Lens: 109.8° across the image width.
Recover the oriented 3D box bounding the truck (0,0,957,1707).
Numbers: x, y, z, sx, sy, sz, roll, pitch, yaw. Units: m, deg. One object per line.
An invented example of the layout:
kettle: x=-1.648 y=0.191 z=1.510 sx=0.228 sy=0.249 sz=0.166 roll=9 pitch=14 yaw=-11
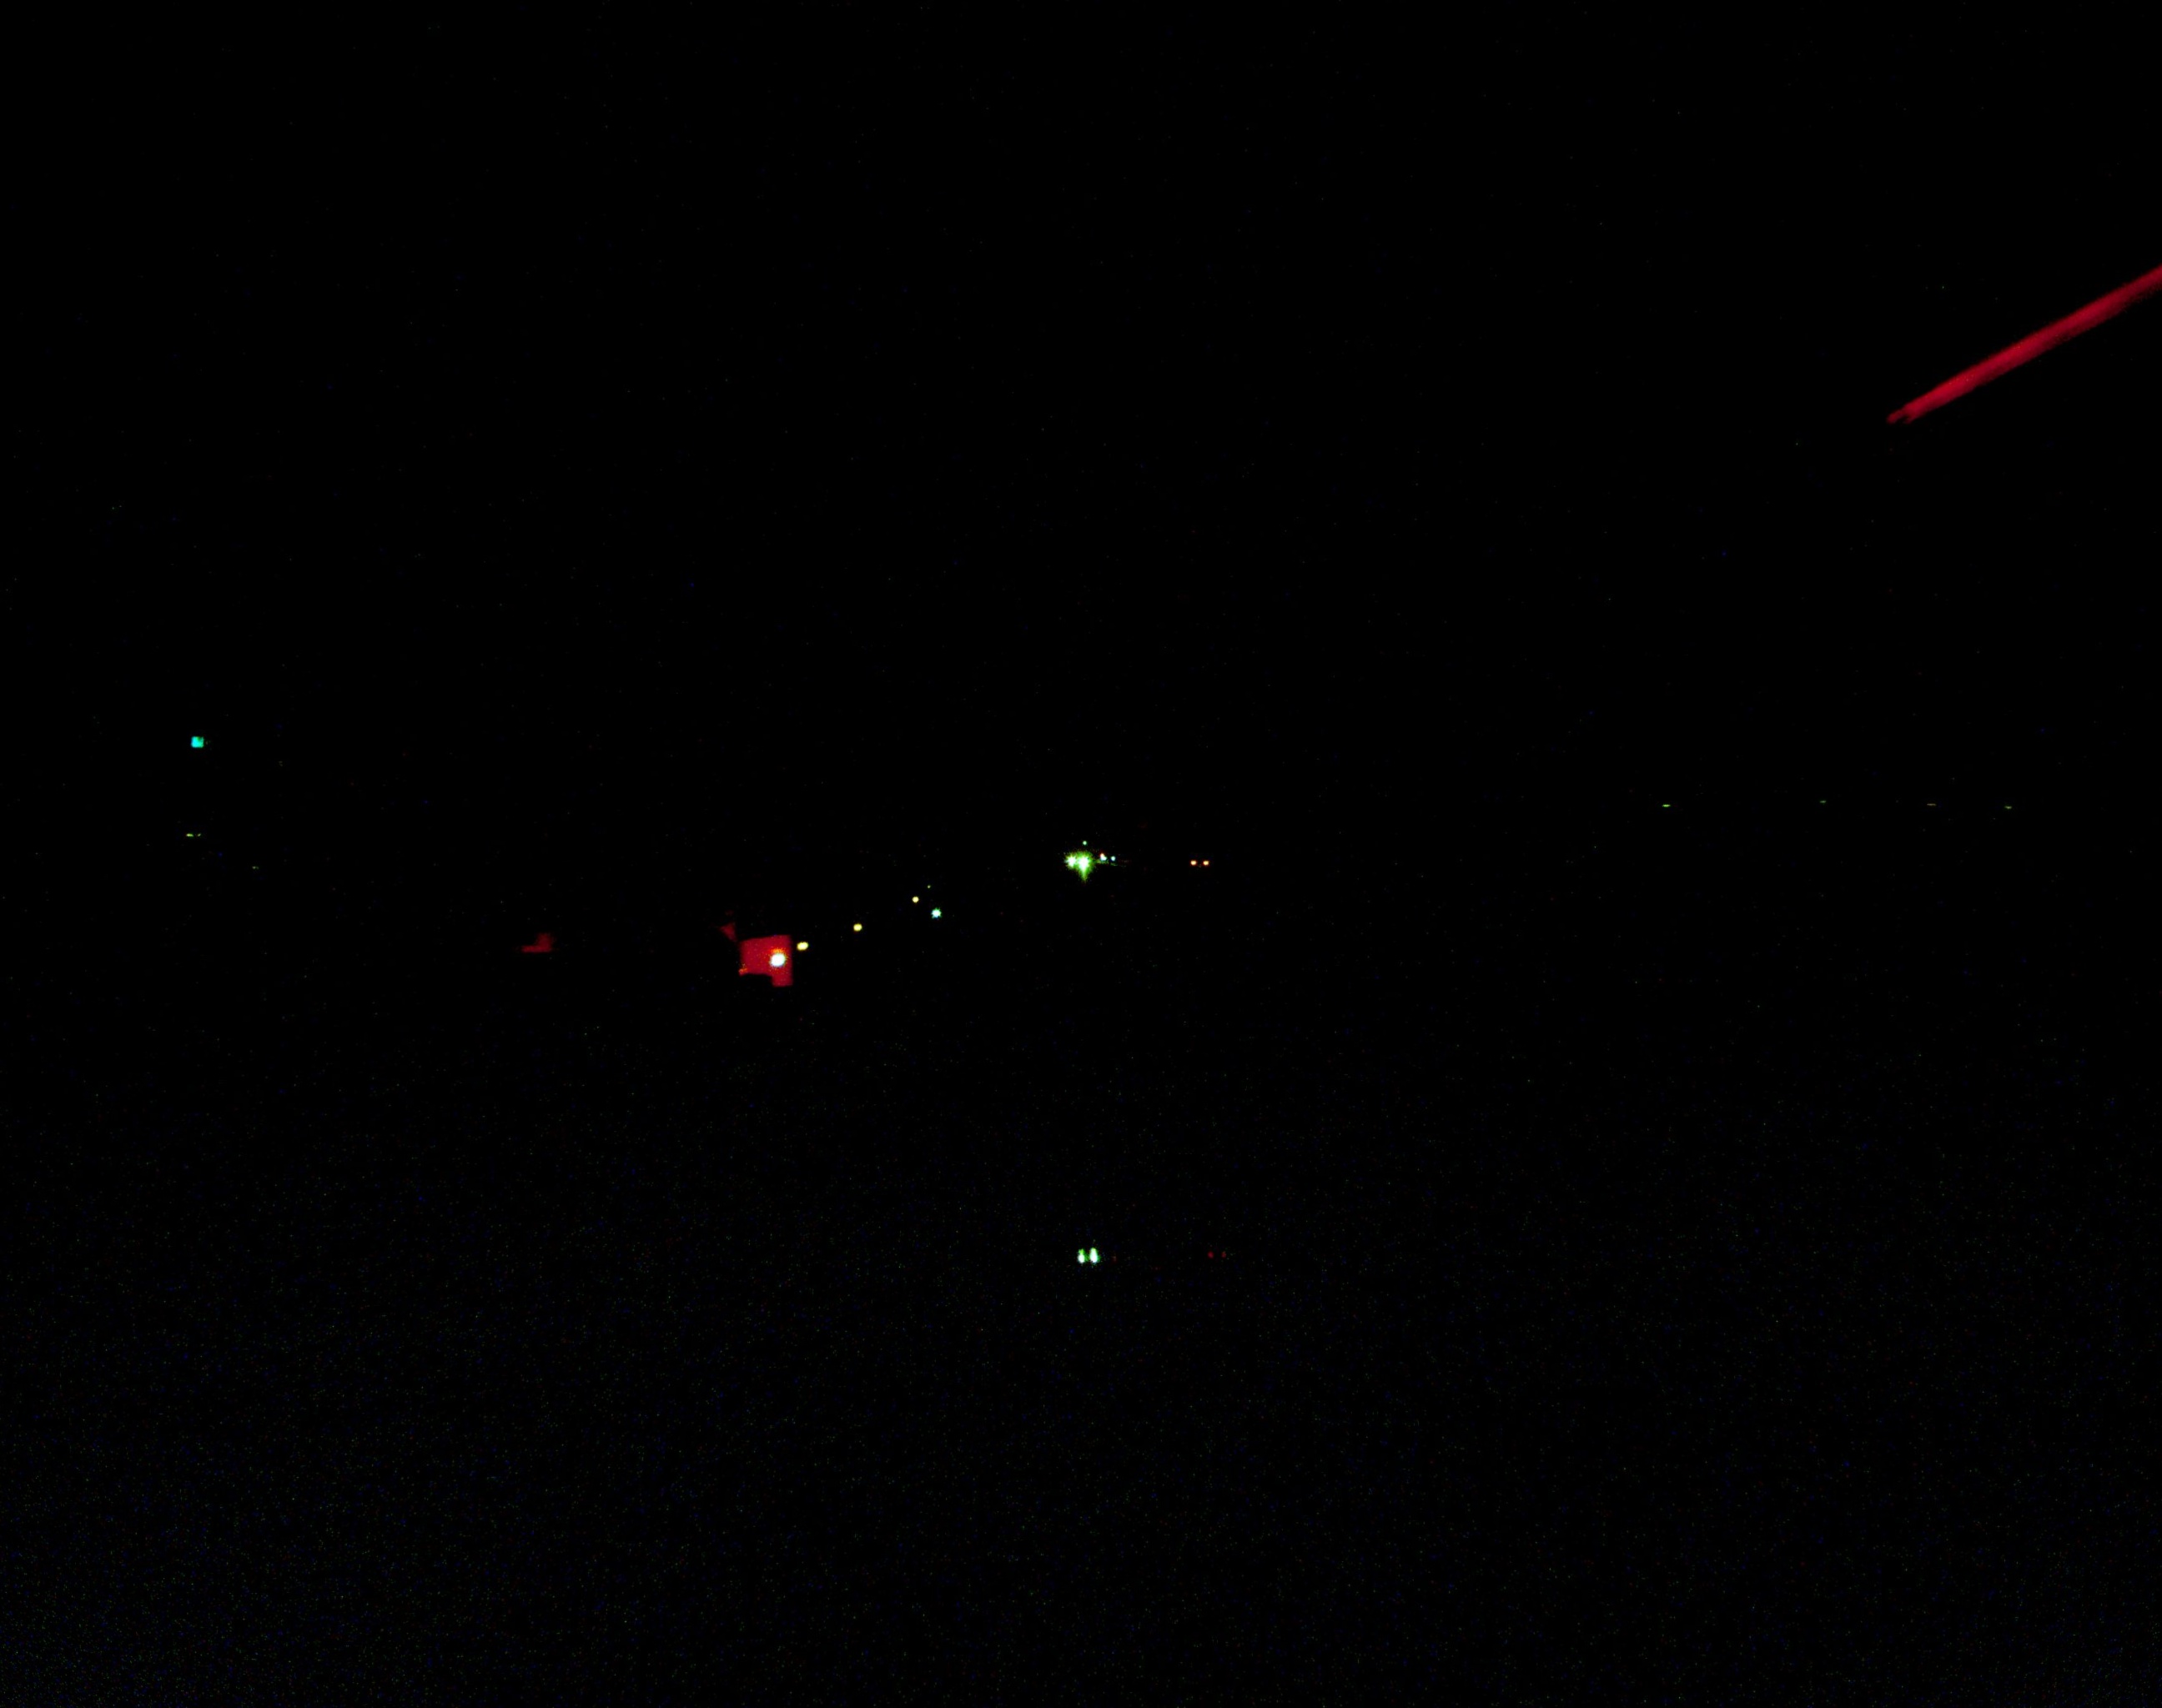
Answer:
truck: x=-3.605 y=-0.255 z=6.466 sx=2.694 sy=4.082 sz=13.140 roll=-2 pitch=0 yaw=1

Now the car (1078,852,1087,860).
car: x=0.332 y=0.355 z=143.271 sx=1.570 sy=1.336 sz=4.166 roll=-2 pitch=0 yaw=-1

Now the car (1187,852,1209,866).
car: x=12.163 y=0.480 z=78.988 sx=1.609 sy=1.322 sz=3.939 roll=1 pitch=0 yaw=-1
